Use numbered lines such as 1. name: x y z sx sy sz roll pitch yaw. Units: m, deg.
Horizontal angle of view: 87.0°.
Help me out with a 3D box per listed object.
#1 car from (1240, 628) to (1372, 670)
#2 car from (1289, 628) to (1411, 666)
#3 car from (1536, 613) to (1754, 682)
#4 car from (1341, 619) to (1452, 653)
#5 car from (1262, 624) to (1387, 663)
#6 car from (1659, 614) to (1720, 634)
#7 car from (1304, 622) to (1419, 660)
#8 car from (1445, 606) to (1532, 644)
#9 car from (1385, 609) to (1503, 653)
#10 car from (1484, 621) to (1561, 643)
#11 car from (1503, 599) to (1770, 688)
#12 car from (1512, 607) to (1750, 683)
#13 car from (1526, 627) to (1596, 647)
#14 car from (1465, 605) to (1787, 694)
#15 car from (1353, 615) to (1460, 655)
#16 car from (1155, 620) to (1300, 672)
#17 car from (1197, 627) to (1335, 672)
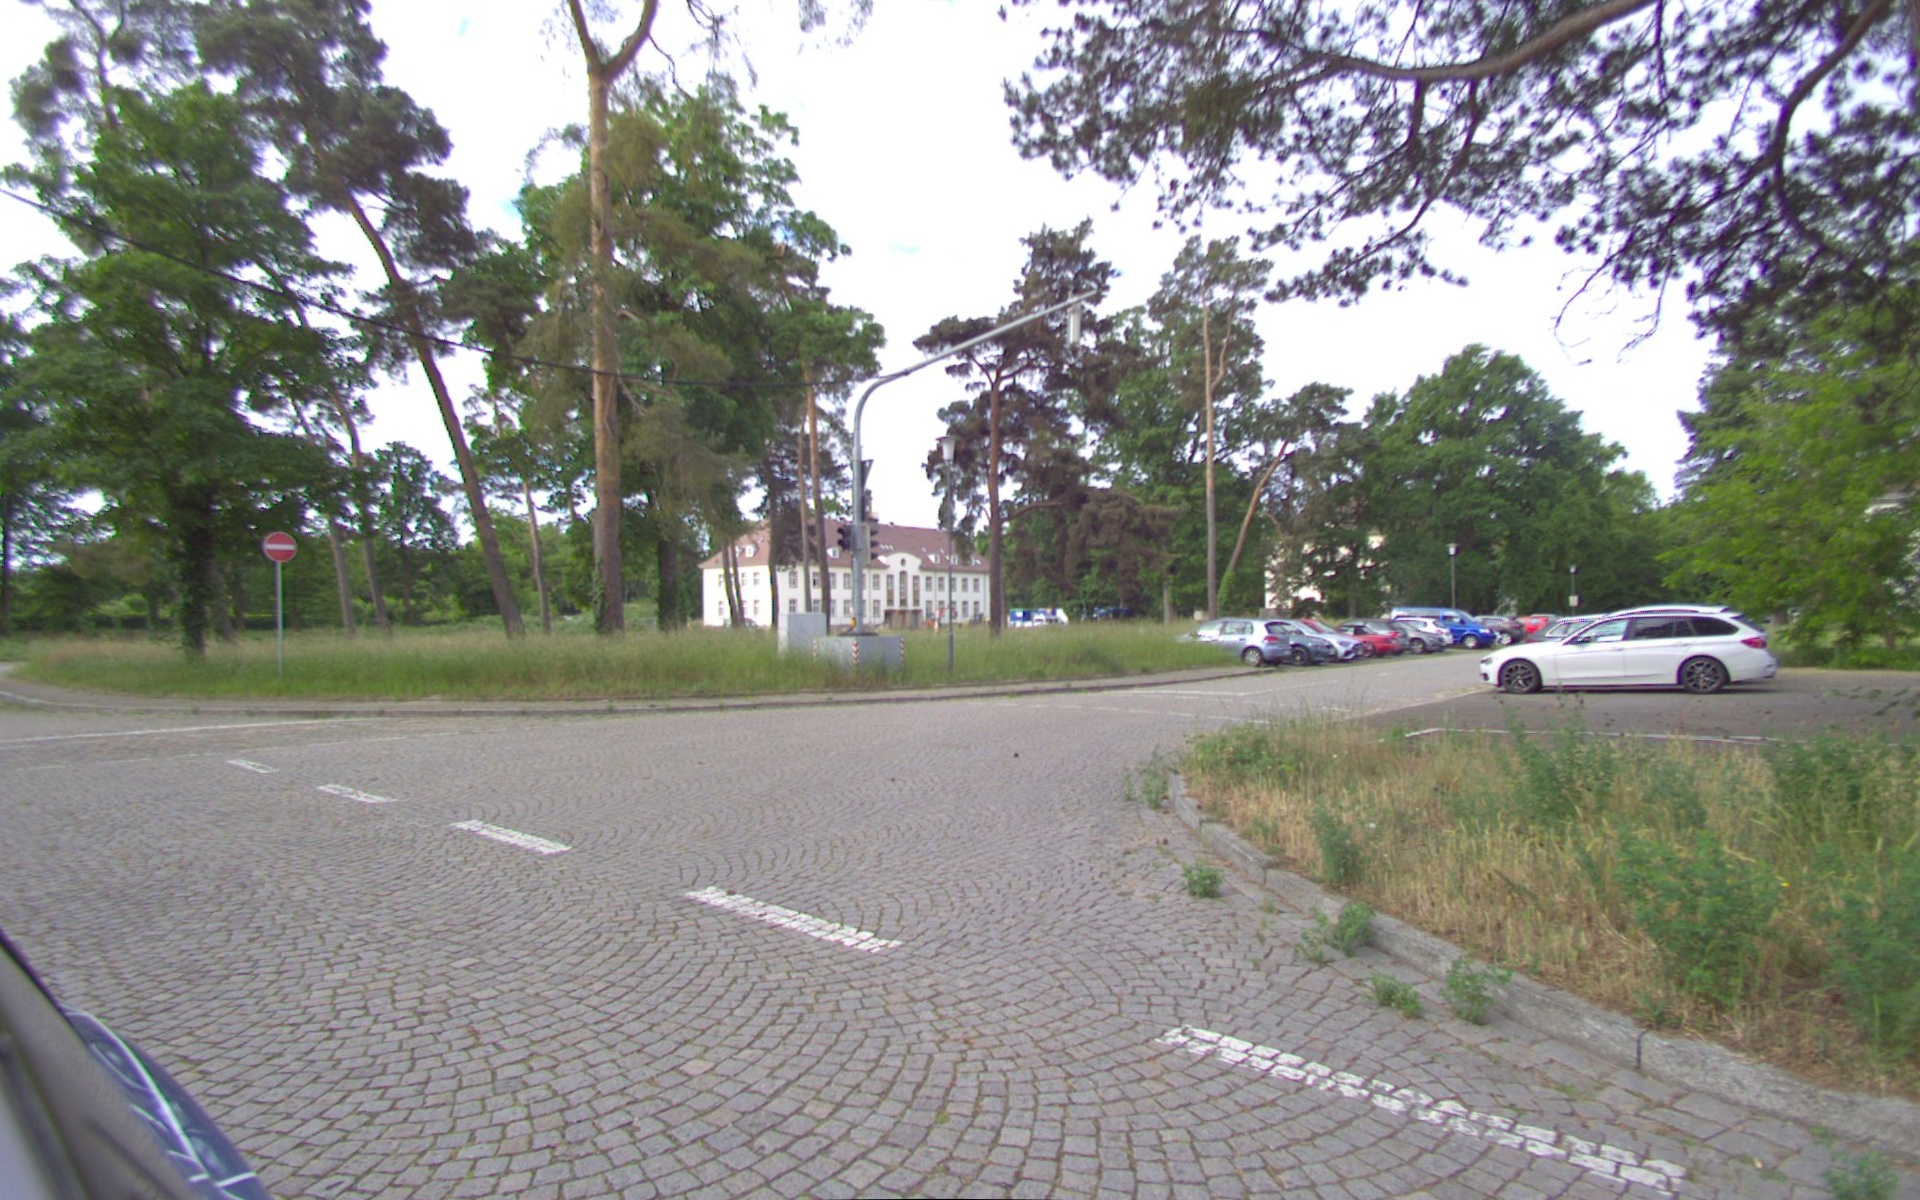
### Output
1. car: 11.933 1.678 35.068 3.998 1.364 1.667 -2 -2 42
2. car: 14.873 1.759 38.692 3.998 1.364 1.667 -2 -2 42
3. car: 16.901 1.156 25.123 4.319 1.578 1.776 -2 -2 37
4. car: 18.393 1.521 42.728 3.998 1.364 1.667 -2 -2 42
5. car: 13.371 1.582 37.283 3.998 1.364 1.667 -2 -2 42
6. car: 78.142 2.584 108.392 5.159 2.029 1.973 -2 -2 40
7. car: 16.245 1.639 41.023 3.998 1.449 1.667 -2 -2 42
8. car: 29.159 1.387 55.914 3.994 2.029 1.847 -2 -2 38
9. car: 23.449 1.518 49.159 4.791 1.996 1.971 -3 -3 41
10. car: 35.464 2.025 63.843 3.998 1.364 1.667 -2 -2 42
11. car: 13.798 0.931 20.836 4.319 1.596 1.804 -5 -4 37
12. car: 15.316 1.055 23.249 4.319 1.513 1.837 -5 -4 37
13. car: 42.309 2.599 71.310 3.998 1.364 1.667 -2 -2 42
14. car: 12.200 0.959 18.793 4.733 1.453 1.792 -4 -3 38
15. car: 19.959 1.588 45.316 4.000 1.727 1.667 -3 -3 43
16. car: 8.238 1.401 31.311 3.996 1.483 1.668 -2 -2 40
17. car: 9.961 1.604 33.154 3.998 1.364 1.667 -2 -2 42
